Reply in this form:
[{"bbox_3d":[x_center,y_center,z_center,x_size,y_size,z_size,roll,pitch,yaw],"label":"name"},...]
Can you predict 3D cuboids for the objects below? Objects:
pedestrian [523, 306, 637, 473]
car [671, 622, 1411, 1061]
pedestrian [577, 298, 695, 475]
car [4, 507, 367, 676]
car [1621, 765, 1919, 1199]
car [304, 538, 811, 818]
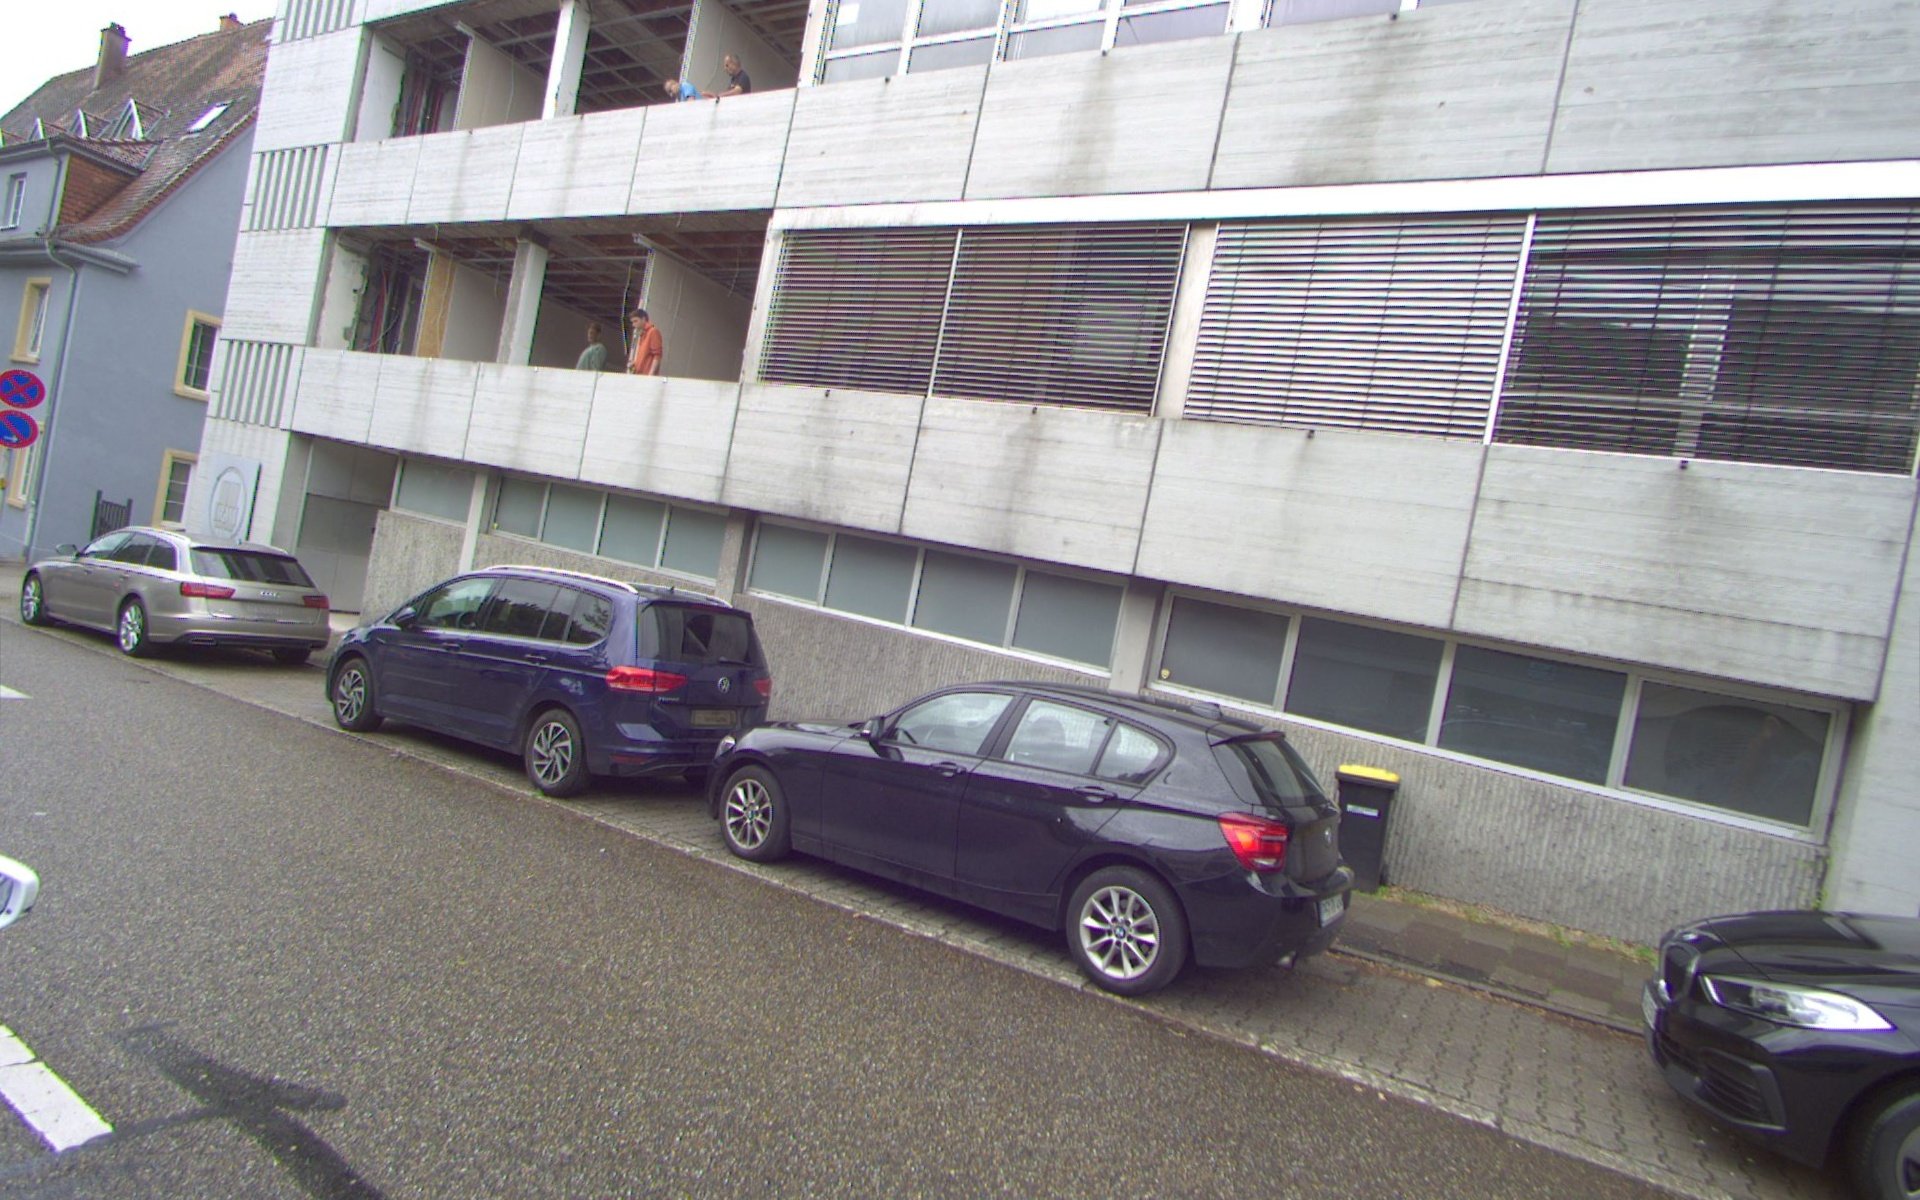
[{"bbox_3d":[-5.251,-2.878,13.940,0.847,2.036,0.909,6,-2,31],"label":"pedestrian"},{"bbox_3d":[0.340,1.165,6.301,4.183,1.465,1.750,7,-1,34],"label":"car"},{"bbox_3d":[-4.235,-2.761,13.186,0.847,2.036,0.909,6,-2,31],"label":"pedestrian"},{"bbox_3d":[-9.798,-0.130,12.666,4.449,1.465,1.967,7,-1,30],"label":"car"},{"bbox_3d":[5.094,1.762,3.524,4.367,1.452,1.998,7,-1,30],"label":"car"},{"bbox_3d":[-3.524,0.549,8.642,4.090,1.618,1.732,7,-1,30],"label":"car"}]
